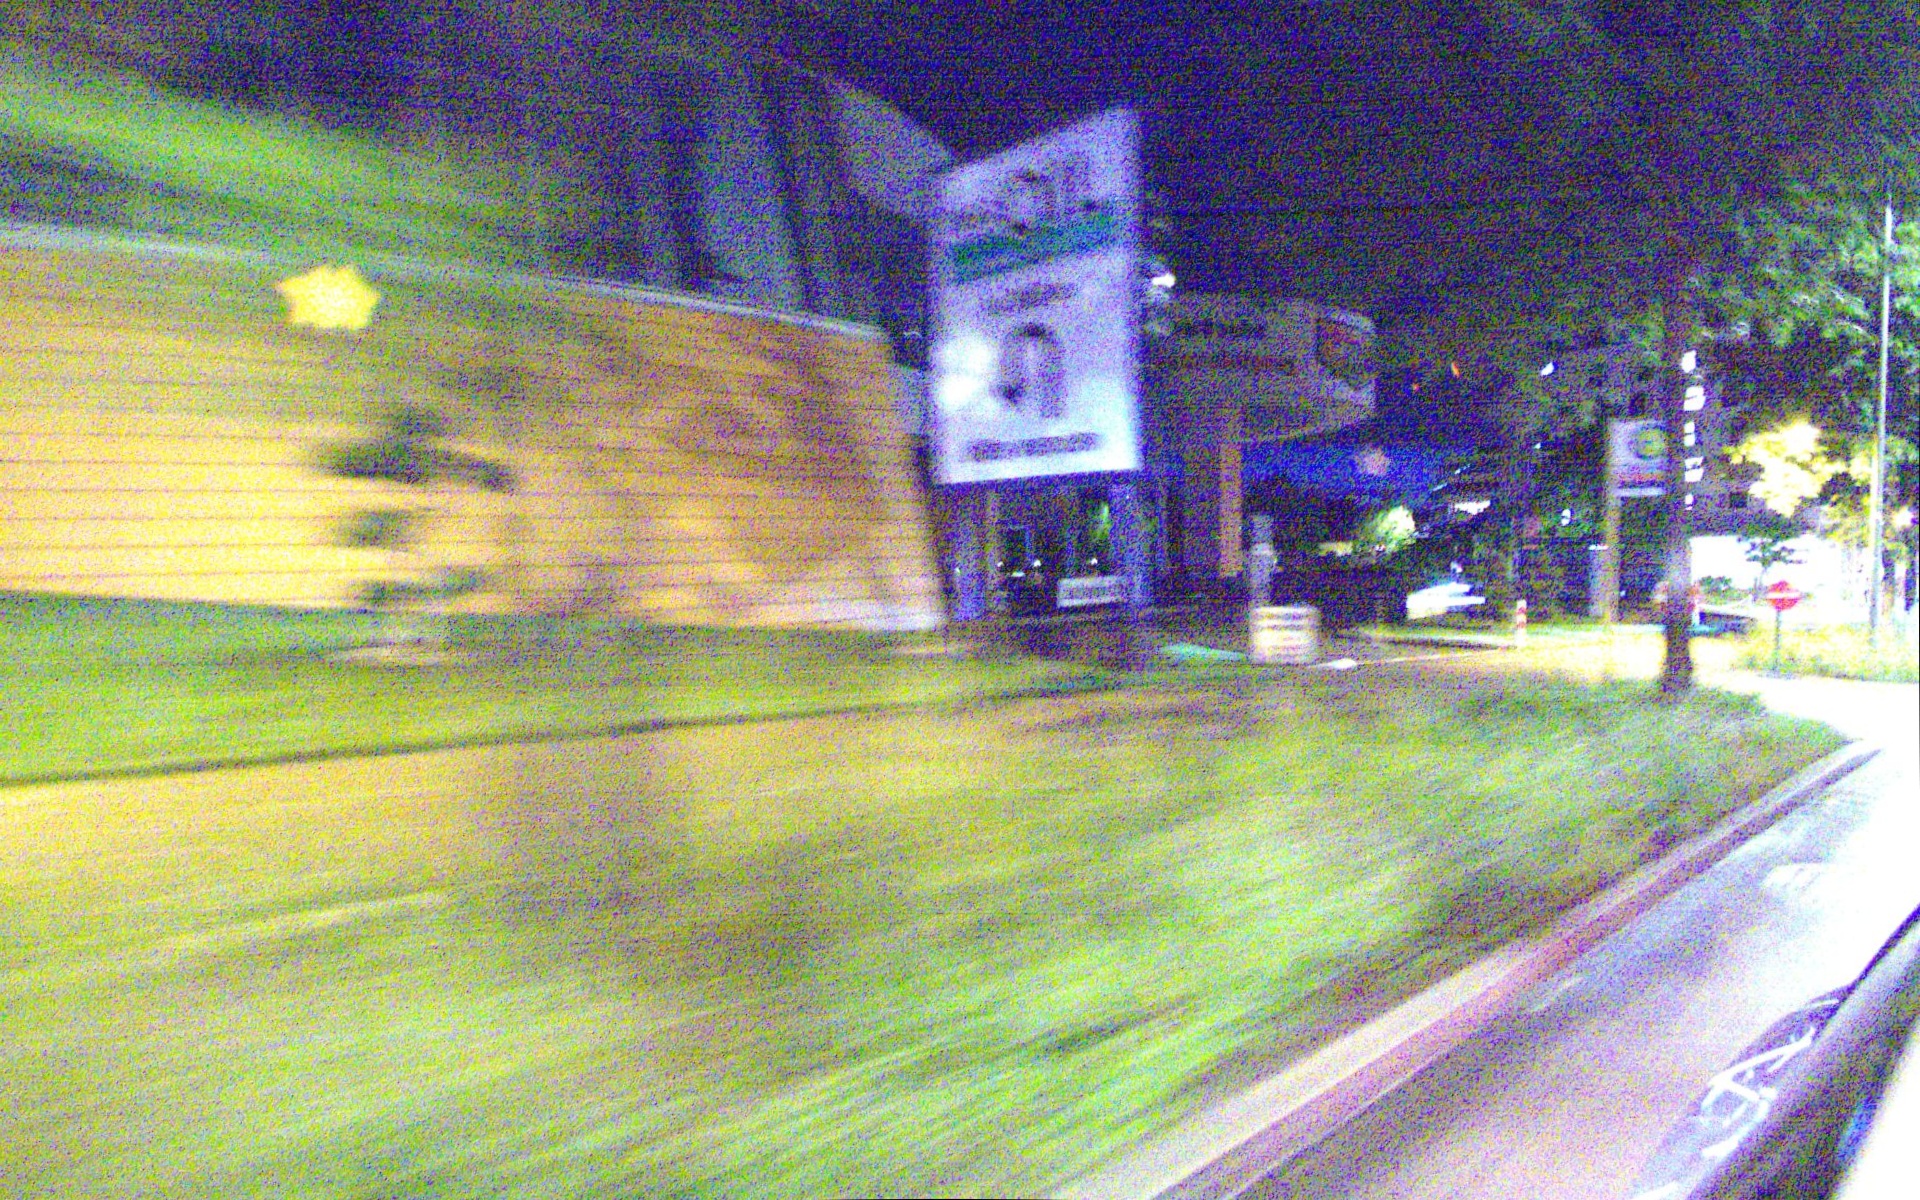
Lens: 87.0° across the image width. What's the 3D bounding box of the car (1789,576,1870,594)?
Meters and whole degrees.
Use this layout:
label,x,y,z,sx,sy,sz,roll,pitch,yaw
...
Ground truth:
label,x,y,z,sx,sy,sz,roll,pitch,yaw
car,58.968,-1.017,68.703,3.933,1.047,1.481,2,1,8
